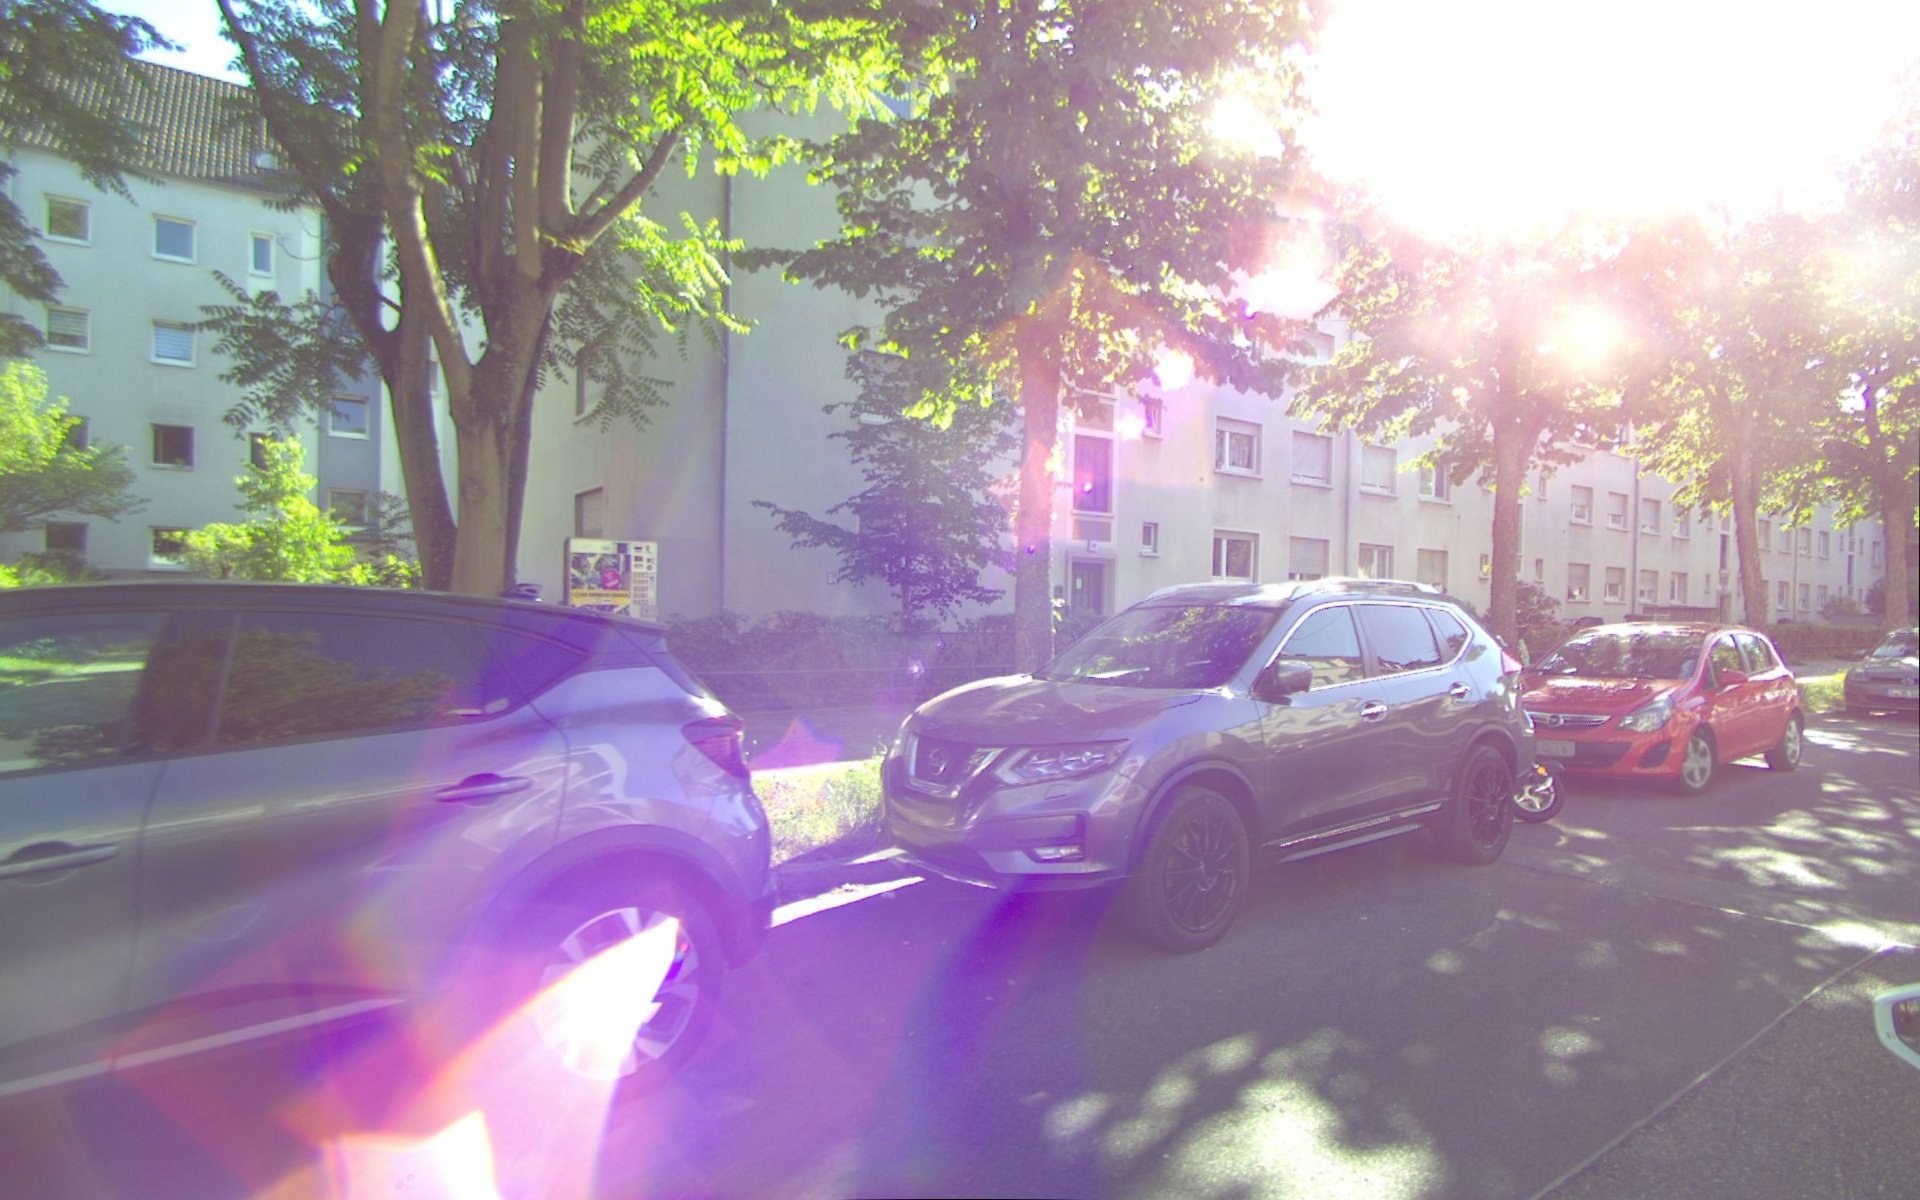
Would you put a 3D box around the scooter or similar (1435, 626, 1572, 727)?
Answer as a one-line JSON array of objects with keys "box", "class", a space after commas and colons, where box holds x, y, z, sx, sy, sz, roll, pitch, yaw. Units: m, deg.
[{"box": [7.034, 0.980, 13.025, 1.485, 1.251, 0.556, 1, 0, -6], "class": "scooter or similar"}]

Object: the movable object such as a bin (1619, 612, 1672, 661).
[{"box": [19.232, 1.010, 28.168, 1.368, 1.341, 0.921, 1, -1, -41], "class": "movable object such as a bin"}]

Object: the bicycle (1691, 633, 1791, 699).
[{"box": [13.621, 1.133, 17.504, 2.066, 1.029, 0.528, 1, 7, -30], "class": "bicycle"}]

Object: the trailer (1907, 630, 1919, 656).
[{"box": [40.117, 1.767, 40.749, 3.247, 1.047, 1.778, 1, 0, -34], "class": "trailer"}]

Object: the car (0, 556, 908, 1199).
[{"box": [-2.473, 0.674, 2.991, 4.375, 1.552, 1.757, 1, 0, -35], "class": "car"}]

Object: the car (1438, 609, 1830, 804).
[{"box": [6.660, 0.867, 9.791, 4.141, 1.489, 1.844, 1, 0, -36], "class": "car"}]

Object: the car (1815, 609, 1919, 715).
[{"box": [15.941, 0.967, 16.326, 4.560, 1.544, 2.029, 1, 0, -35], "class": "car"}]

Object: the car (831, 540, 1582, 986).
[{"box": [1.747, 0.667, 6.004, 4.769, 1.710, 1.755, 1, -1, -37], "class": "car"}]

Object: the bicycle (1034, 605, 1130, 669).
[{"box": [2.422, 0.719, 19.832, 1.891, 1.217, 0.681, 1, 0, -34], "class": "bicycle"}]

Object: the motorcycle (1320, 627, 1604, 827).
[{"box": [3.911, 0.909, 8.017, 0.777, 1.350, 1.946, 1, 0, -27], "class": "motorcycle"}]

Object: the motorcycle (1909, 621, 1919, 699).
[{"box": [18.963, 1.165, 18.666, 0.969, 1.523, 2.235, 0, -1, 15], "class": "motorcycle"}]

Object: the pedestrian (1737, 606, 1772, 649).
[{"box": [35.917, 1.217, 45.403, 1.014, 1.913, 0.928, 1, 0, -32], "class": "pedestrian"}]

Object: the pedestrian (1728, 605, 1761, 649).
[{"box": [34.878, 1.196, 44.669, 0.862, 1.939, 0.782, 1, 0, -9], "class": "pedestrian"}]

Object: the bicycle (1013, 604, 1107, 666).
[{"box": [2.038, 0.702, 20.421, 1.891, 1.217, 0.681, 1, 0, -34], "class": "bicycle"}]
